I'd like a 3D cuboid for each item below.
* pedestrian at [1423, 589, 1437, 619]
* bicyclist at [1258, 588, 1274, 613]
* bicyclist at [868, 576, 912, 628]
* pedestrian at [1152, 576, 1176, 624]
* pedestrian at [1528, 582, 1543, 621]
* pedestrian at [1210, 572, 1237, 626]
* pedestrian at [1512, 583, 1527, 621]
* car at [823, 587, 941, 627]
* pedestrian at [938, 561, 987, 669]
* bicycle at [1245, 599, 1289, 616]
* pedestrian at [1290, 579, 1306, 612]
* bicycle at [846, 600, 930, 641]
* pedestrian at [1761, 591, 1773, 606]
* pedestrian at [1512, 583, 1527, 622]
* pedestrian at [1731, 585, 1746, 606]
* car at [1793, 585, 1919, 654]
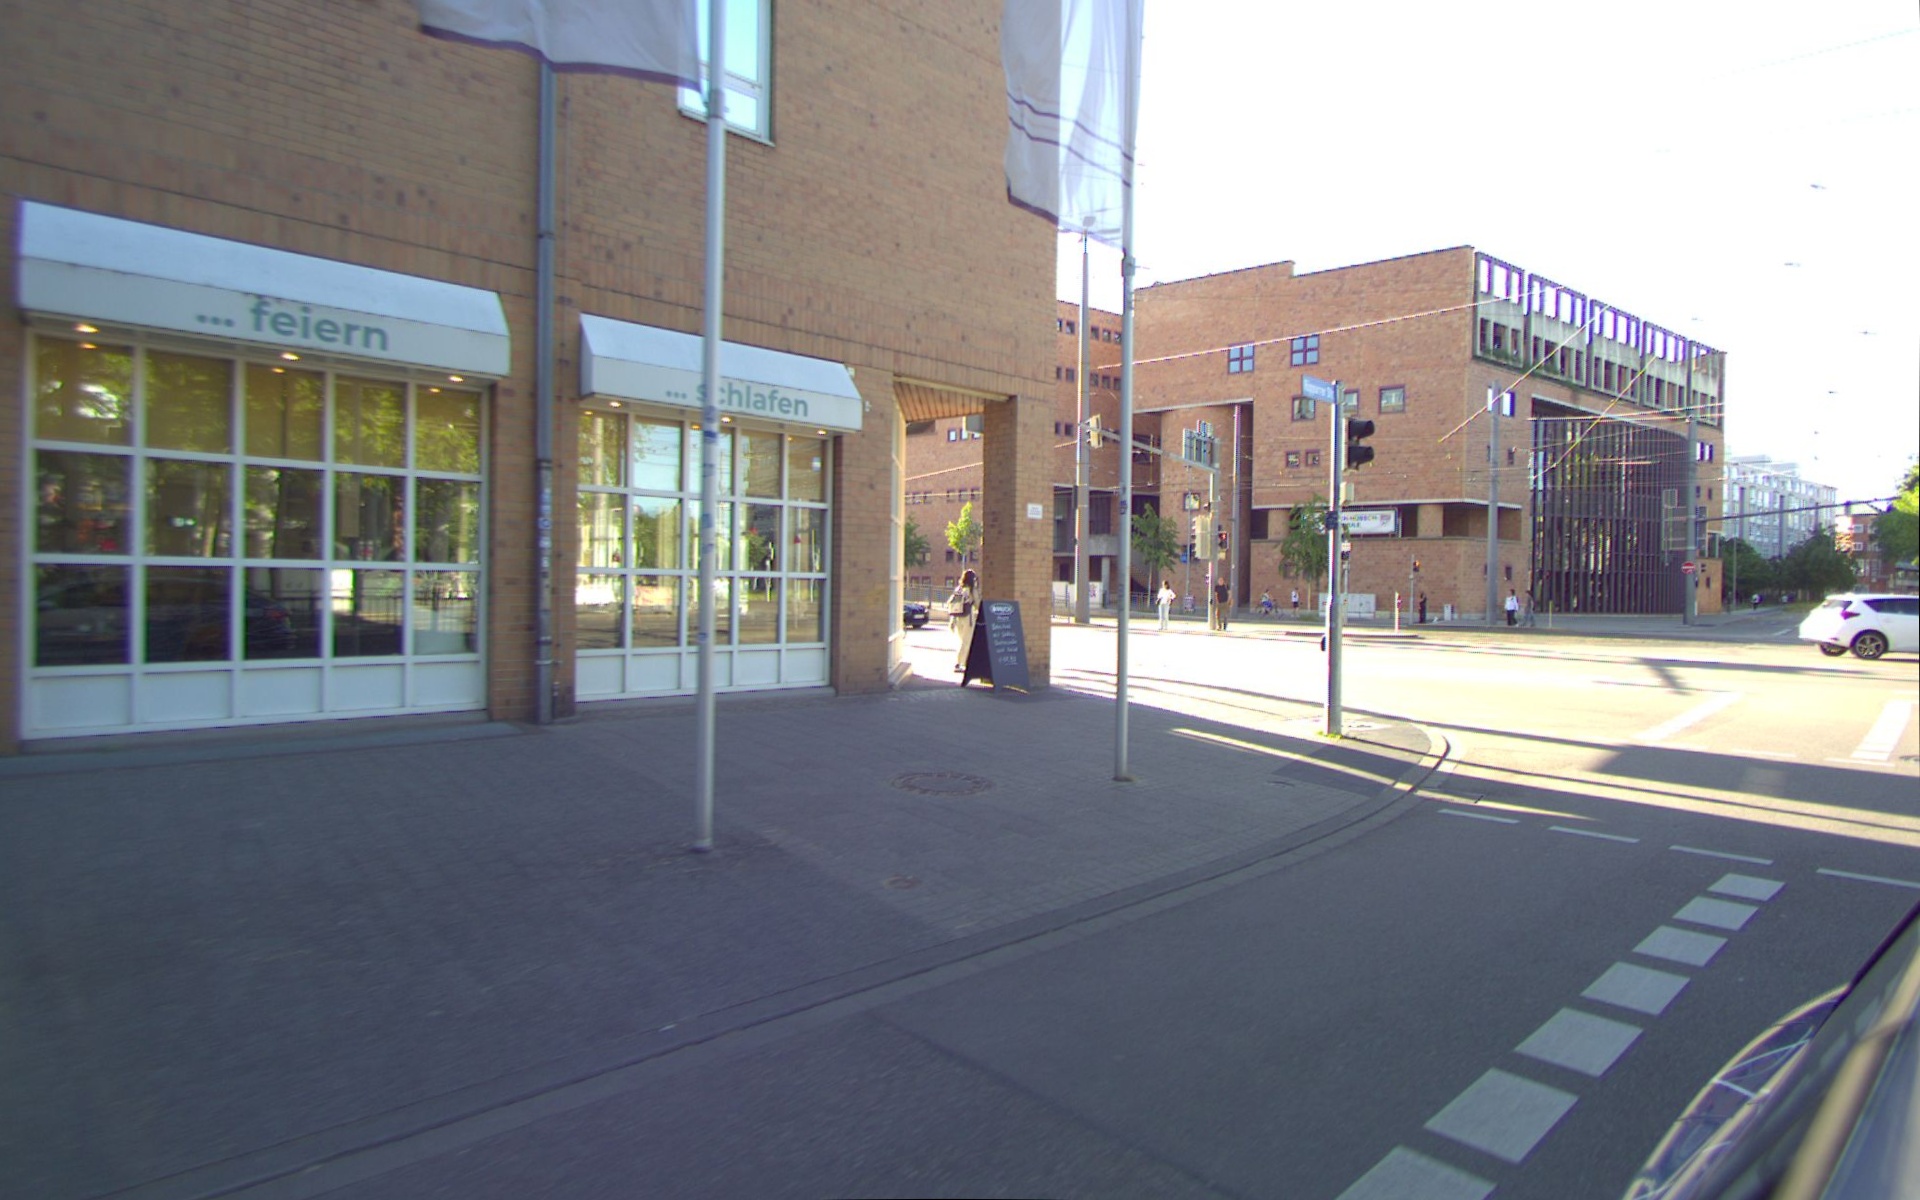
[{"bbox_3d":[23.516,0.198,50.661,0.567,1.495,0.545,2,1,24],"label":"pedestrian"},{"bbox_3d":[17.394,0.021,57.525,0.650,1.356,0.638,1,1,43],"label":"bicyclist"},{"bbox_3d":[-1.958,0.035,28.183,0.921,1.394,0.800,1,1,40],"label":"bicyclist"},{"bbox_3d":[6.918,0.004,34.246,0.641,1.597,0.576,1,0,28],"label":"pedestrian"},{"bbox_3d":[27.450,0.068,48.279,0.545,1.808,0.566,1,1,34],"label":"pedestrian"},{"bbox_3d":[8.721,-0.052,33.474,0.592,1.748,0.712,1,1,43],"label":"pedestrian"},{"bbox_3d":[26.946,0.071,48.752,0.545,1.808,0.566,1,1,34],"label":"pedestrian"},{"bbox_3d":[-2.847,0.215,36.468,4.211,1.284,1.819,1,3,40],"label":"car"},{"bbox_3d":[0.050,0.230,16.406,0.727,1.686,0.753,1,1,2],"label":"pedestrian"},{"bbox_3d":[17.431,0.416,57.482,2.338,0.916,0.640,2,1,44],"label":"bicycle"},{"bbox_3d":[19.284,-0.260,57.706,0.572,1.808,0.540,5,3,44],"label":"pedestrian"},{"bbox_3d":[-2.024,0.552,28.240,2.498,1.003,0.800,2,2,41],"label":"bicycle"},{"bbox_3d":[76.584,-0.170,96.095,0.810,1.401,0.676,2,1,44],"label":"pedestrian"},{"bbox_3d":[26.186,0.120,47.356,0.545,1.808,0.566,1,1,34],"label":"pedestrian"},{"bbox_3d":[60.269,-0.344,78.358,0.805,1.626,0.680,1,1,30],"label":"pedestrian"},{"bbox_3d":[21.771,0.416,22.787,4.243,1.466,1.834,0,2,20],"label":"car"}]
